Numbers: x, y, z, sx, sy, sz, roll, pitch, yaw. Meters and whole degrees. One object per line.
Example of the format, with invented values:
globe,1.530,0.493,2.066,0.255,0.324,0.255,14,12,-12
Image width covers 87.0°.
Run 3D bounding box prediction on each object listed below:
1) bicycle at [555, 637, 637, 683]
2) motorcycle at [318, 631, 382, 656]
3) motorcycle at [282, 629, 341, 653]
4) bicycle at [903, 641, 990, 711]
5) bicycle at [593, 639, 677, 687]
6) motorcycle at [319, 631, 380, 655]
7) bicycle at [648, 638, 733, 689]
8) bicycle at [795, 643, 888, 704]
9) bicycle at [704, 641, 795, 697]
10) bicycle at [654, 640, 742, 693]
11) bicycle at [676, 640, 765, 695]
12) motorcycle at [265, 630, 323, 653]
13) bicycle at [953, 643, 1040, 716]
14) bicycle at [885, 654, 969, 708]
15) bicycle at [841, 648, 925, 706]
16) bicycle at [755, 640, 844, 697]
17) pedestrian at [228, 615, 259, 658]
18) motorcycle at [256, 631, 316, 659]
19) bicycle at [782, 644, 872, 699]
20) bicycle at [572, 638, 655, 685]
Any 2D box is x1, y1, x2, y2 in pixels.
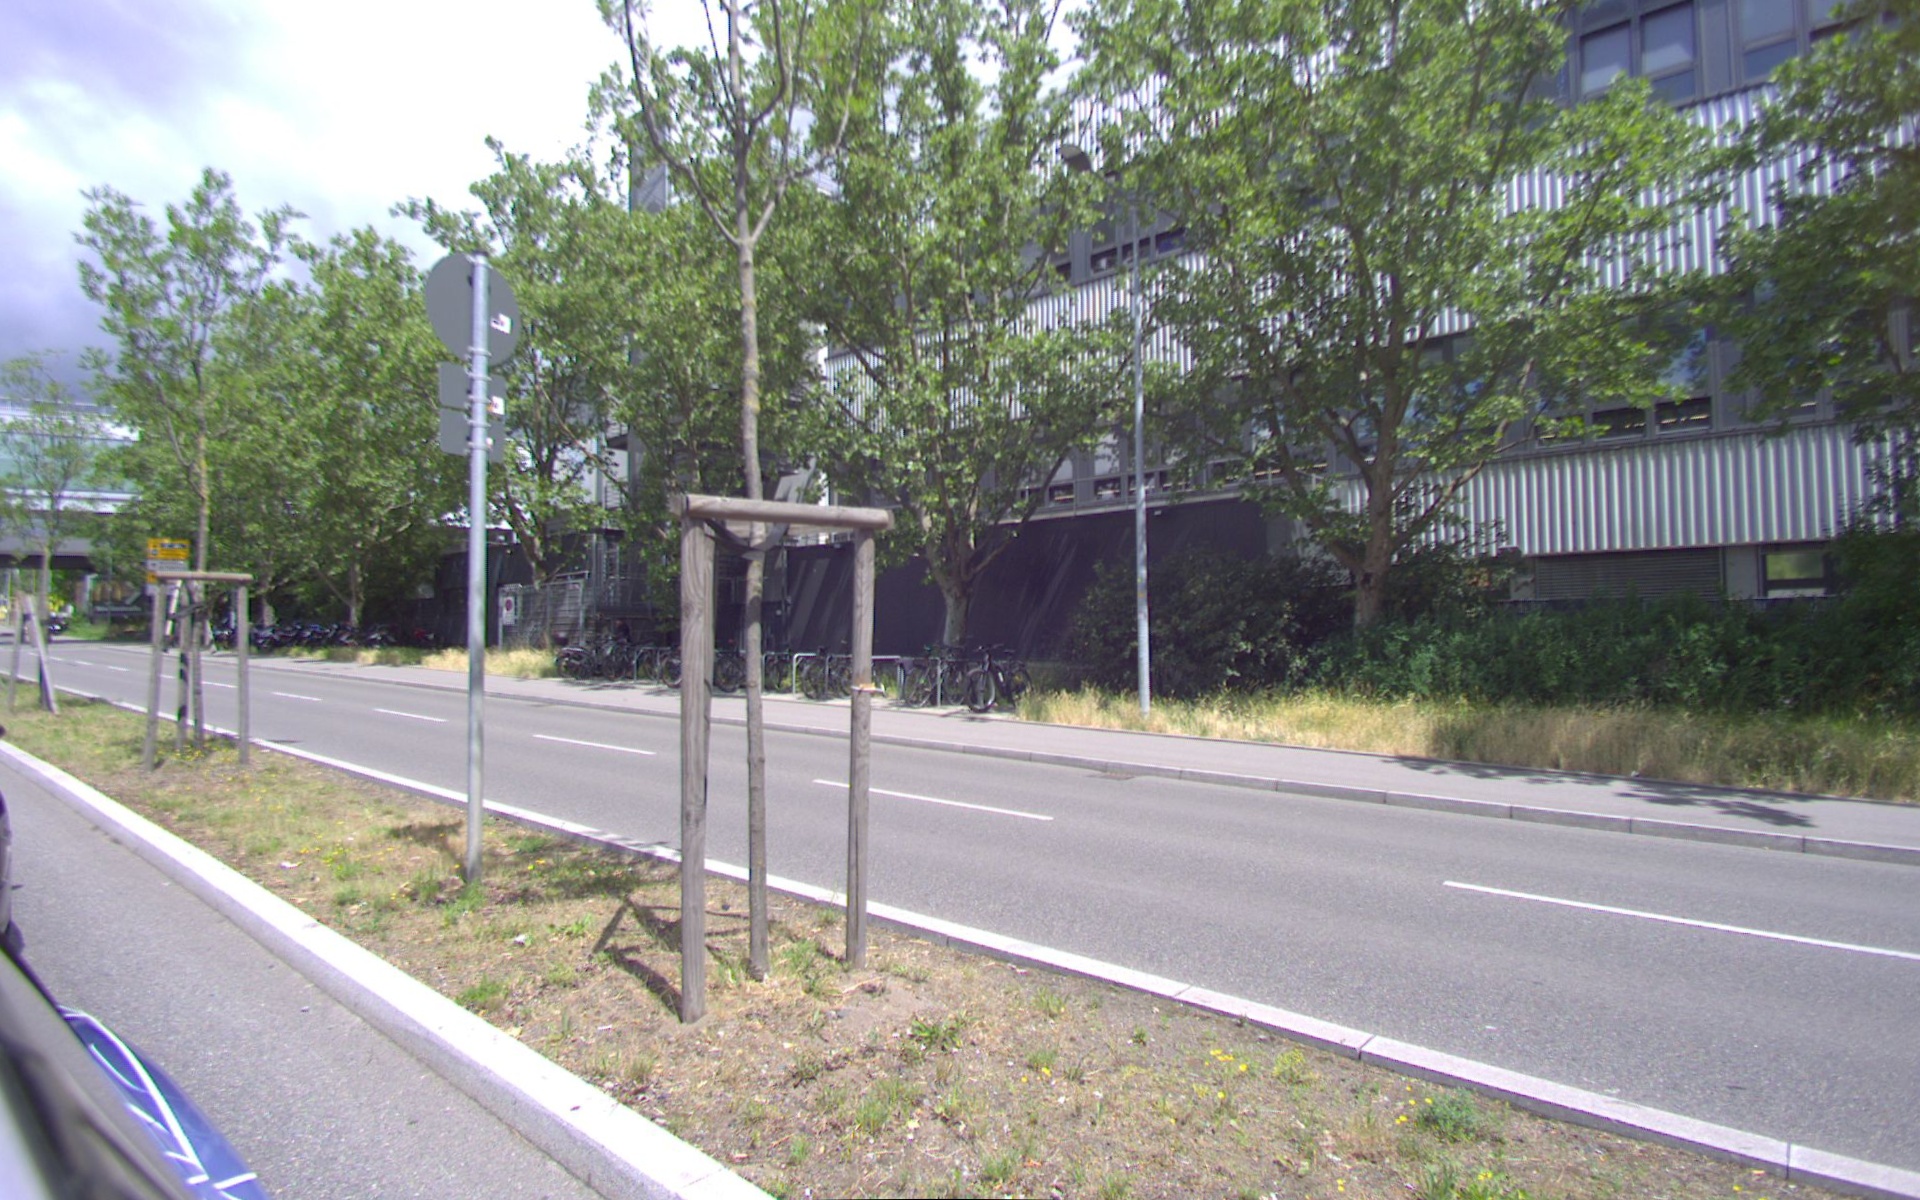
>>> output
bicycle,-9.548,1.550,26.625,0.382,1.119,2.101,-2,-1,43
motorcycle,-23.980,1.693,39.826,0.534,0.905,2.105,-2,-1,41
motorcycle,-27.842,1.751,43.472,0.534,0.976,2.105,-2,-1,41
bicycle,-0.220,1.333,18.115,0.381,1.137,1.968,-2,-1,39
bicycle,-8.162,1.564,25.531,0.382,1.119,2.101,-2,-1,43
motorcycle,-25.023,1.748,41.510,0.534,0.892,2.105,-2,-1,41
bicycle,-6.482,1.509,24.408,0.382,1.119,2.101,-2,-1,43
bicycle,-2.341,1.433,20.223,0.382,1.104,2.101,-2,-1,43
bicycle,-4.544,1.477,22.011,0.382,1.119,2.101,-2,-1,43
bicycle,-5.991,1.498,23.258,0.382,1.119,2.101,-2,-1,43
bicycle,-5.335,1.487,22.661,0.382,1.119,2.101,-2,-1,43
motorcycle,-29.684,1.827,45.140,0.534,0.976,2.105,-2,-1,41
bicycle,0.659,1.337,17.392,0.381,1.137,1.968,-2,-1,39
bicycle,-0.598,1.519,19.216,0.381,0.897,1.968,-2,-1,39
bicycle,-1.470,1.475,19.701,0.381,1.005,1.968,-2,-1,39
bicycle,-3.413,1.454,21.745,0.382,1.119,2.101,-2,-1,43
pedestrian,-29.347,1.491,41.433,0.672,1.734,0.888,-2,-2,41
motorcycle,-29.271,1.947,43.961,0.534,1.146,2.105,-2,-1,41
bicycle,-2.744,1.477,21.131,0.382,1.038,2.101,-2,-1,43
bicycle,-8.906,1.569,26.080,0.382,1.119,2.101,-2,-1,43
